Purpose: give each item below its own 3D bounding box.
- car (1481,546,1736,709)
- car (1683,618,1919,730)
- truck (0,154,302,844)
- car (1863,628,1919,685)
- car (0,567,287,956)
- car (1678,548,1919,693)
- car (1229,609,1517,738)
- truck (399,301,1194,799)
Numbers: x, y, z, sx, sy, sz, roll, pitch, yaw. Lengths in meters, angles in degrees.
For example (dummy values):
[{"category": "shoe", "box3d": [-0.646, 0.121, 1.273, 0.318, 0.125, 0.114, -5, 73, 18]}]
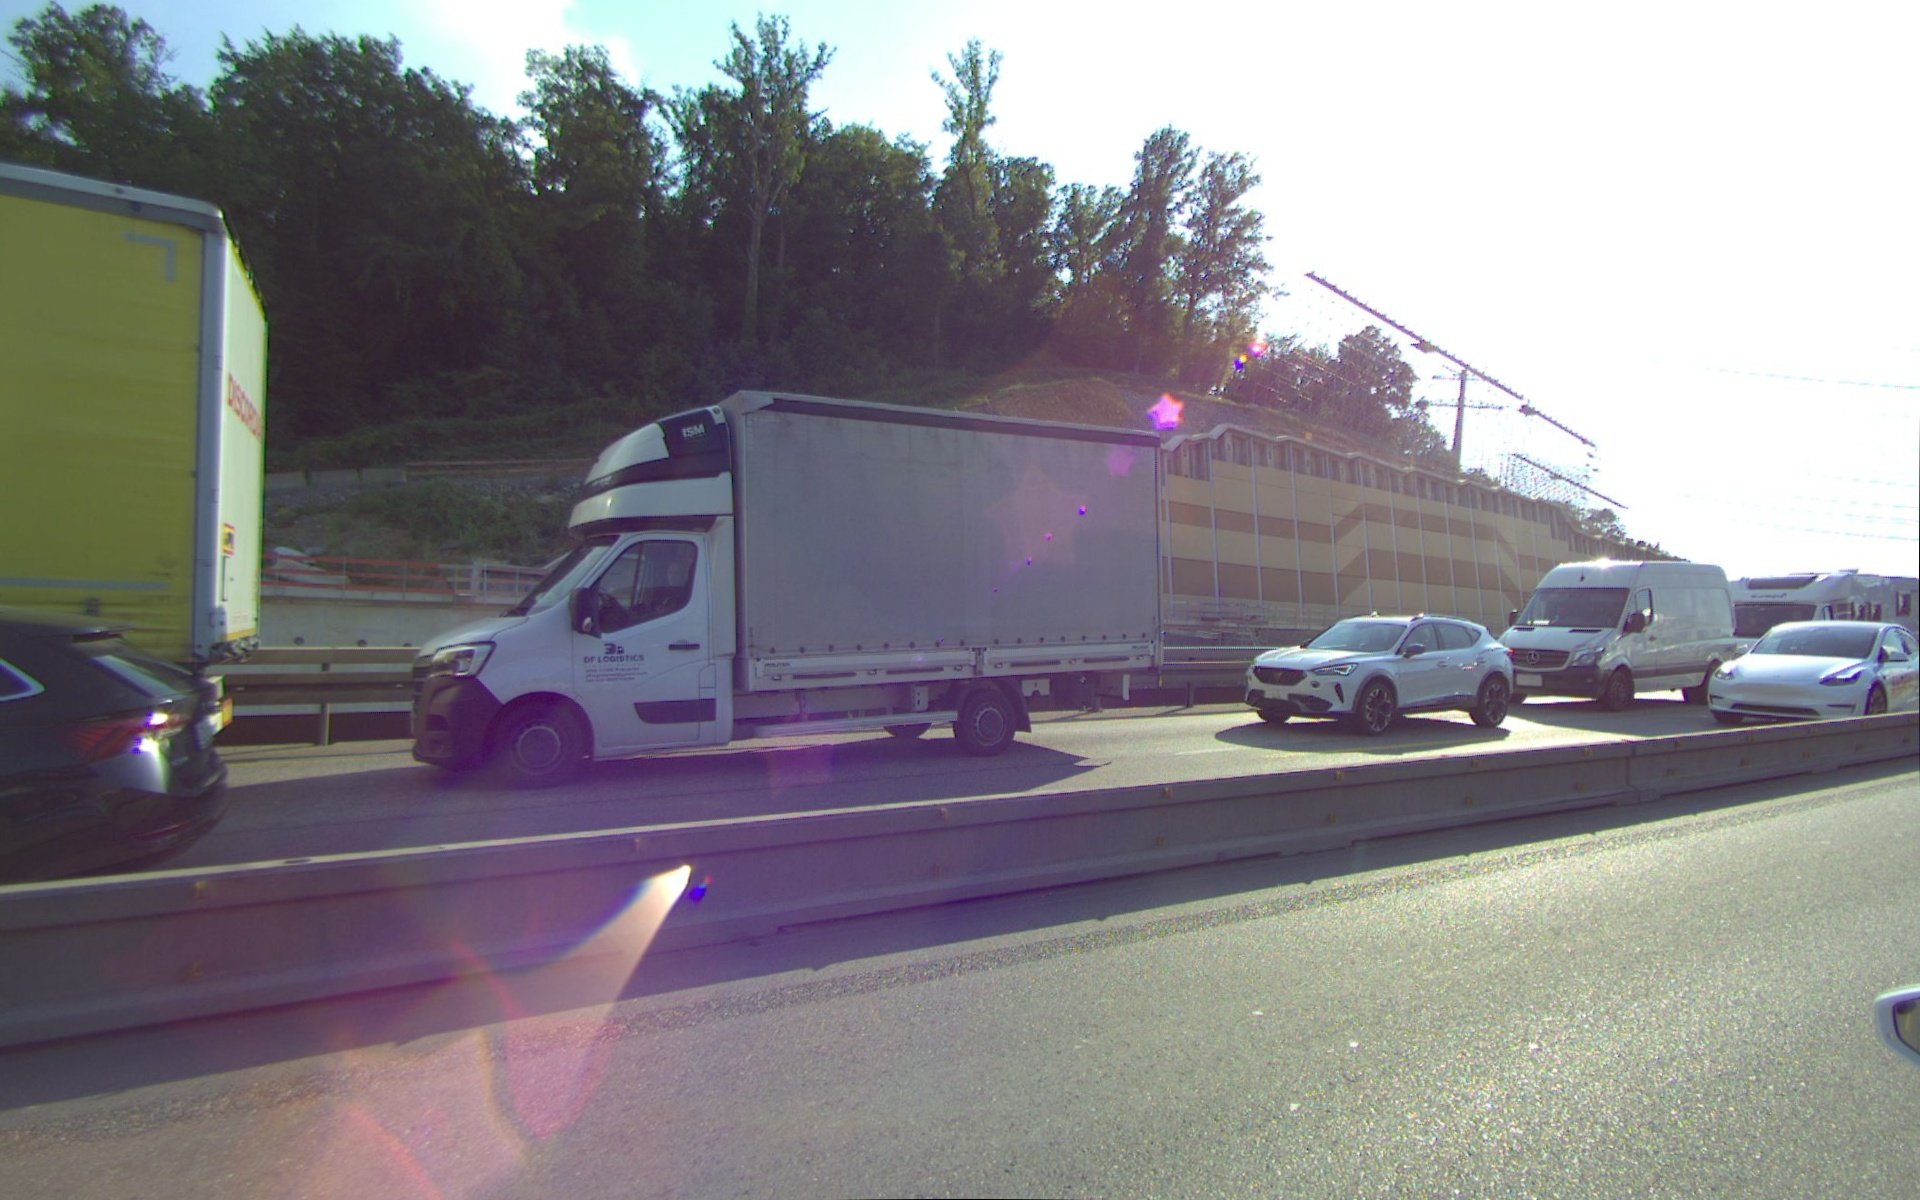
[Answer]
[{"category": "car", "box3d": [12.257, 0.549, 18.825, 5.689, 2.655, 1.944, 2, -2, -34]}, {"category": "car", "box3d": [13.582, 1.069, 15.772, 4.675, 1.506, 2.047, 0, -3, -33]}, {"category": "truck", "box3d": [-11.324, -0.753, 4.295, 13.989, 4.142, 2.694, 2, -1, -31]}, {"category": "car", "box3d": [26.805, 1.562, 27.682, 4.561, 1.441, 1.738, 2, 0, -33]}, {"category": "car", "box3d": [-5.321, 0.599, 4.016, 4.238, 1.543, 1.646, 2, 0, -31]}, {"category": "car", "box3d": [19.903, 0.555, 23.616, 7.550, 2.956, 2.321, 2, -2, -33]}, {"category": "car", "box3d": [5.812, 0.951, 14.039, 3.959, 1.543, 1.754, 2, 0, -32]}, {"category": "truck", "box3d": [-1.264, -0.266, 10.115, 7.532, 3.509, 2.434, 2, -1, -32]}]
